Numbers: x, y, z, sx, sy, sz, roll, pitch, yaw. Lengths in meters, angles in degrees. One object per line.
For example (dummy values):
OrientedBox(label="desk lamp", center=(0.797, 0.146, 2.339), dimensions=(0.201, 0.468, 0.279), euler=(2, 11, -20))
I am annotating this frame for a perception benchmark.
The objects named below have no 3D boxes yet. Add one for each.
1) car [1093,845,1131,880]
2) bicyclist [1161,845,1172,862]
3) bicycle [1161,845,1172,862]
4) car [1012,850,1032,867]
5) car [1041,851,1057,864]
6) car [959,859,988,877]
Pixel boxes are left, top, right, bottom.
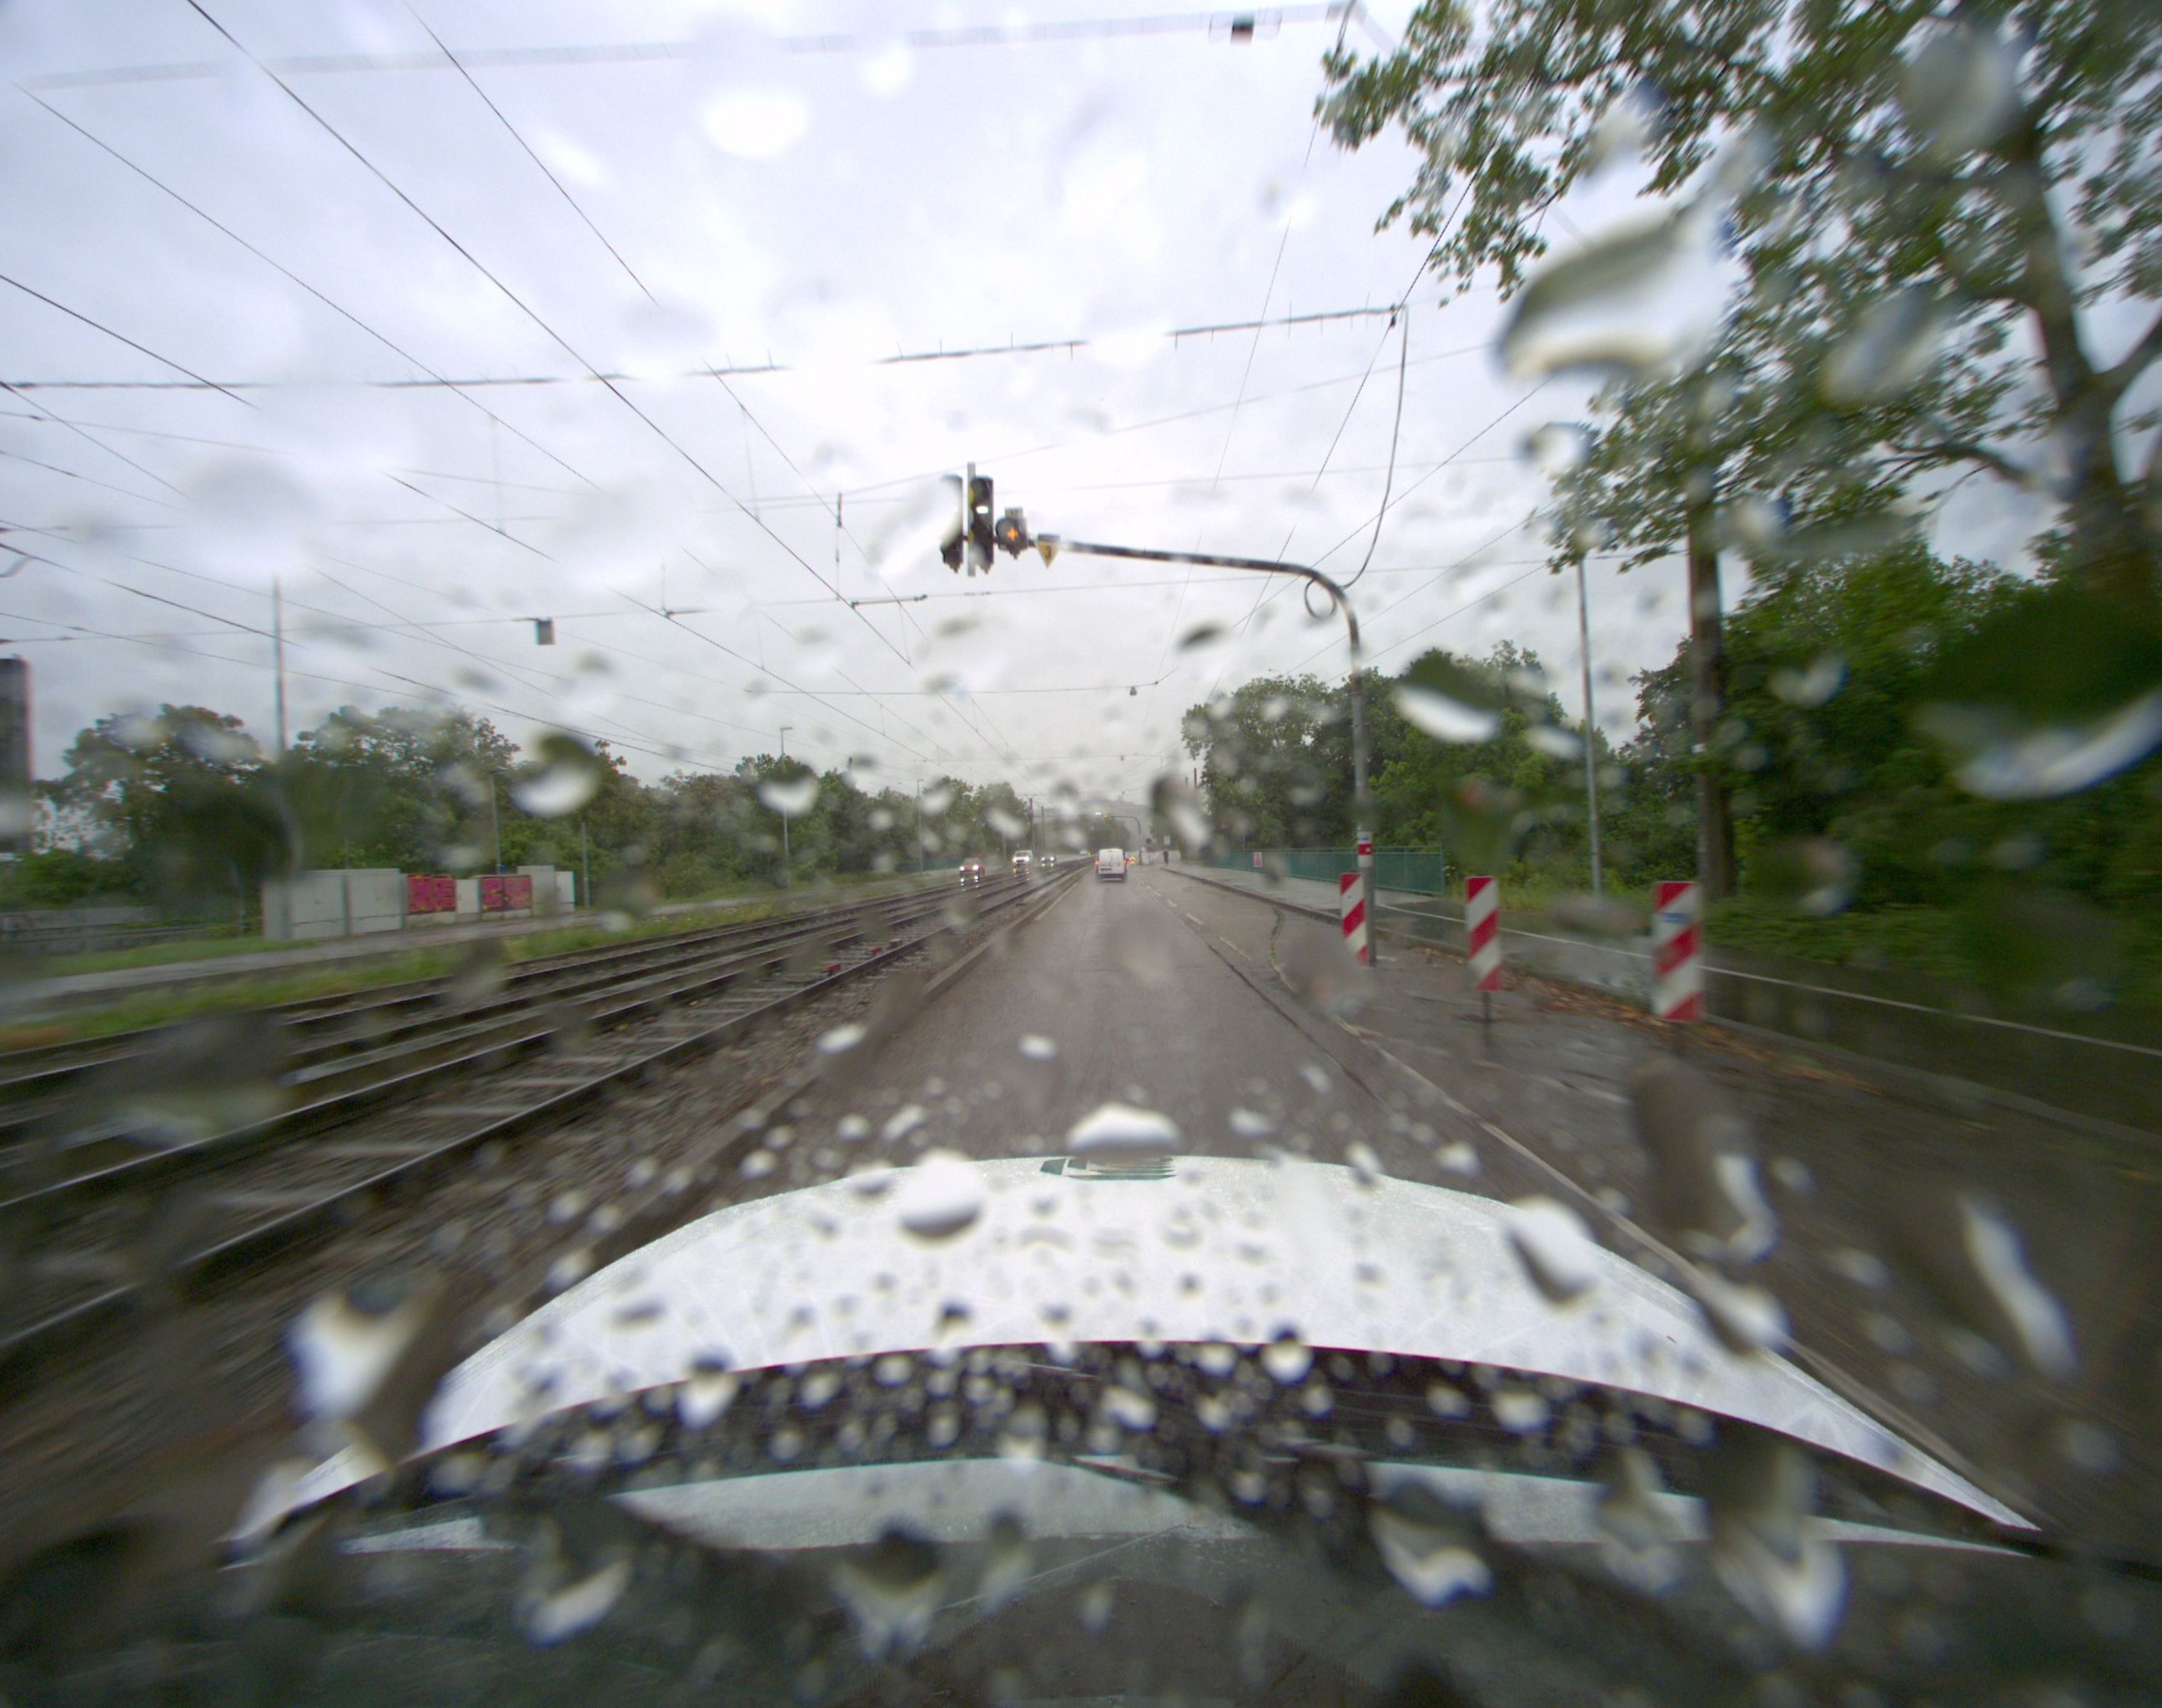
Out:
OrientedBox(label="car", center=(1.722, 0.480, 45.863), dimensions=(1.987, 1.849, 4.000), euler=(-1, 0, 0))
OrientedBox(label="bicyclist", center=(10.224, -0.081, 97.522), dimensions=(1.096, 2.014, 1.675), euler=(-1, -1, 1))
OrientedBox(label="bicycle", center=(10.217, -0.073, 97.500), dimensions=(1.101, 2.014, 3.052), euler=(-1, -1, 1))
OrientedBox(label="car", center=(-7.315, 0.555, 100.283), dimensions=(1.994, 2.014, 3.985), euler=(-1, -1, -11))
OrientedBox(label="car", center=(-4.904, 0.582, 124.481), dimensions=(1.985, 1.948, 4.003), euler=(-1, -1, 3))
OrientedBox(label="car", center=(-9.156, 1.182, 69.495), dimensions=(1.812, 1.398, 4.002), euler=(-2, 0, 2))
